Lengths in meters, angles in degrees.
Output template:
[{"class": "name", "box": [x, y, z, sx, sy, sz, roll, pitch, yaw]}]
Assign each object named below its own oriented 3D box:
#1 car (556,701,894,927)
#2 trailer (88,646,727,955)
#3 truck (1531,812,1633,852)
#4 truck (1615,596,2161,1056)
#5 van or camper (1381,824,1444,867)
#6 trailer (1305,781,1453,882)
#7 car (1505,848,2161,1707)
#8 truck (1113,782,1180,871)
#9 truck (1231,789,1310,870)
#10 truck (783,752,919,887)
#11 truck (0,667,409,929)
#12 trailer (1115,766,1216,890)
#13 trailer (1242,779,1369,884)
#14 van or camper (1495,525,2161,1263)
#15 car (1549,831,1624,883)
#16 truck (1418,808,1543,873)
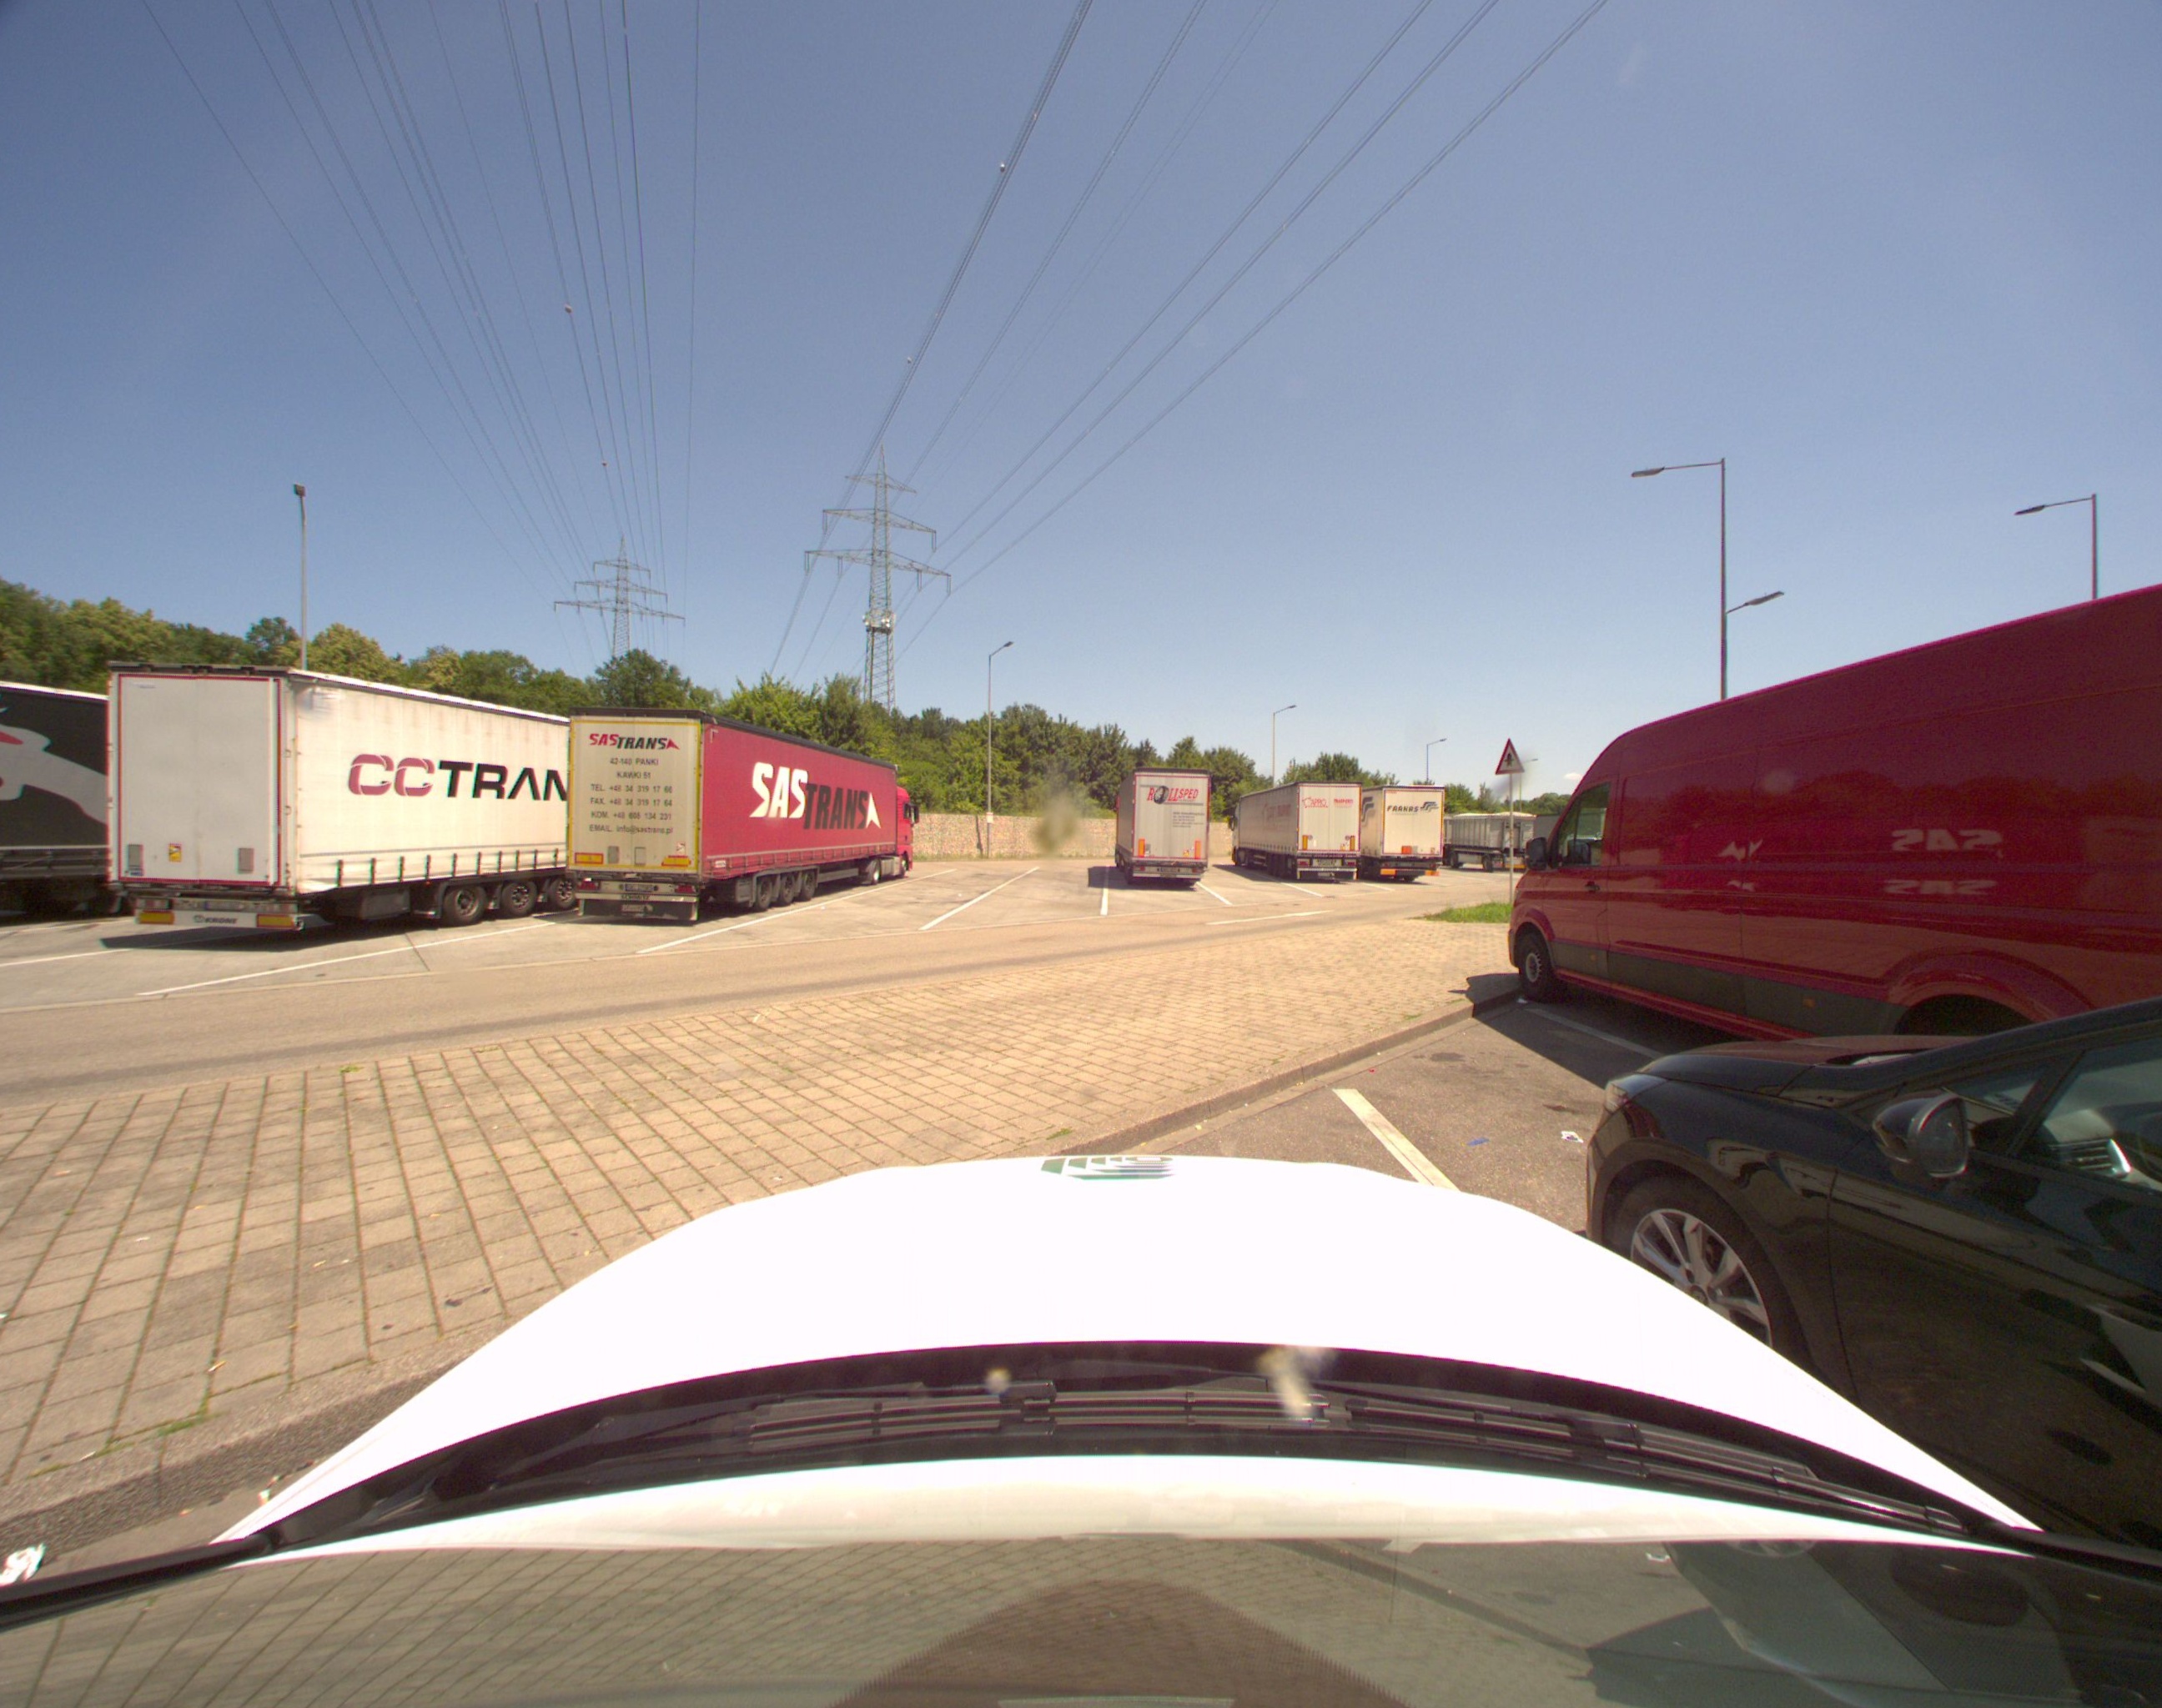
[{"class": "car", "box": [-8.042, -0.942, 21.437, 2.686, 4.112, 12.943, 1, 2, 2]}, {"class": "trailer", "box": [-12.157, -0.984, 17.794, 2.803, 4.266, 12.947, 1, 2, 2]}, {"class": "truck", "box": [38.048, -1.642, 62.375, 2.117, 2.820, 9.783, -1, 1, 2]}, {"class": "truck", "box": [7.943, -0.211, 7.066, 2.455, 2.792, 6.978, 0, 1, 4]}, {"class": "van or camper", "box": [21.069, -0.546, 52.017, 2.096, 2.561, 5.376, -1, 1, 3]}, {"class": "trailer", "box": [13.651, -1.126, 38.878, 2.855, 4.037, 12.445, 1, 2, 2]}, {"class": "car", "box": [2.457, 0.754, 1.143, 1.612, 1.483, 3.762, -1, 1, -4]}, {"class": "truck", "box": [3.148, -1.400, 40.820, 2.857, 4.037, 7.029, 0, 2, 1]}, {"class": "truck", "box": [10.191, -1.372, 44.535, 2.856, 4.037, 6.960, 1, 2, 2]}, {"class": "truck", "box": [-7.742, -1.162, 28.354, 2.686, 4.112, 6.243, 1, 2, 2]}, {"class": "truck", "box": [-18.612, -1.033, 16.276, 2.803, 4.190, 8.793, 1, 2, 2]}, {"class": "trailer", "box": [3.054, -1.110, 33.731, 2.857, 4.037, 14.244, 0, 2, 1]}, {"class": "trailer", "box": [9.963, -1.107, 37.903, 2.855, 4.037, 12.445, 1, 2, 2]}, {"class": "van or camper", "box": [5.142, 0.099, 5.495, 1.986, 2.654, 6.490, -1, 1, 6]}, {"class": "car", "box": [22.532, 0.075, 36.185, 1.975, 2.150, 5.346, 0, 1, 41]}, {"class": "truck", "box": [24.312, -0.958, 50.499, 2.478, 3.568, 11.429, 1, 2, 2]}]
